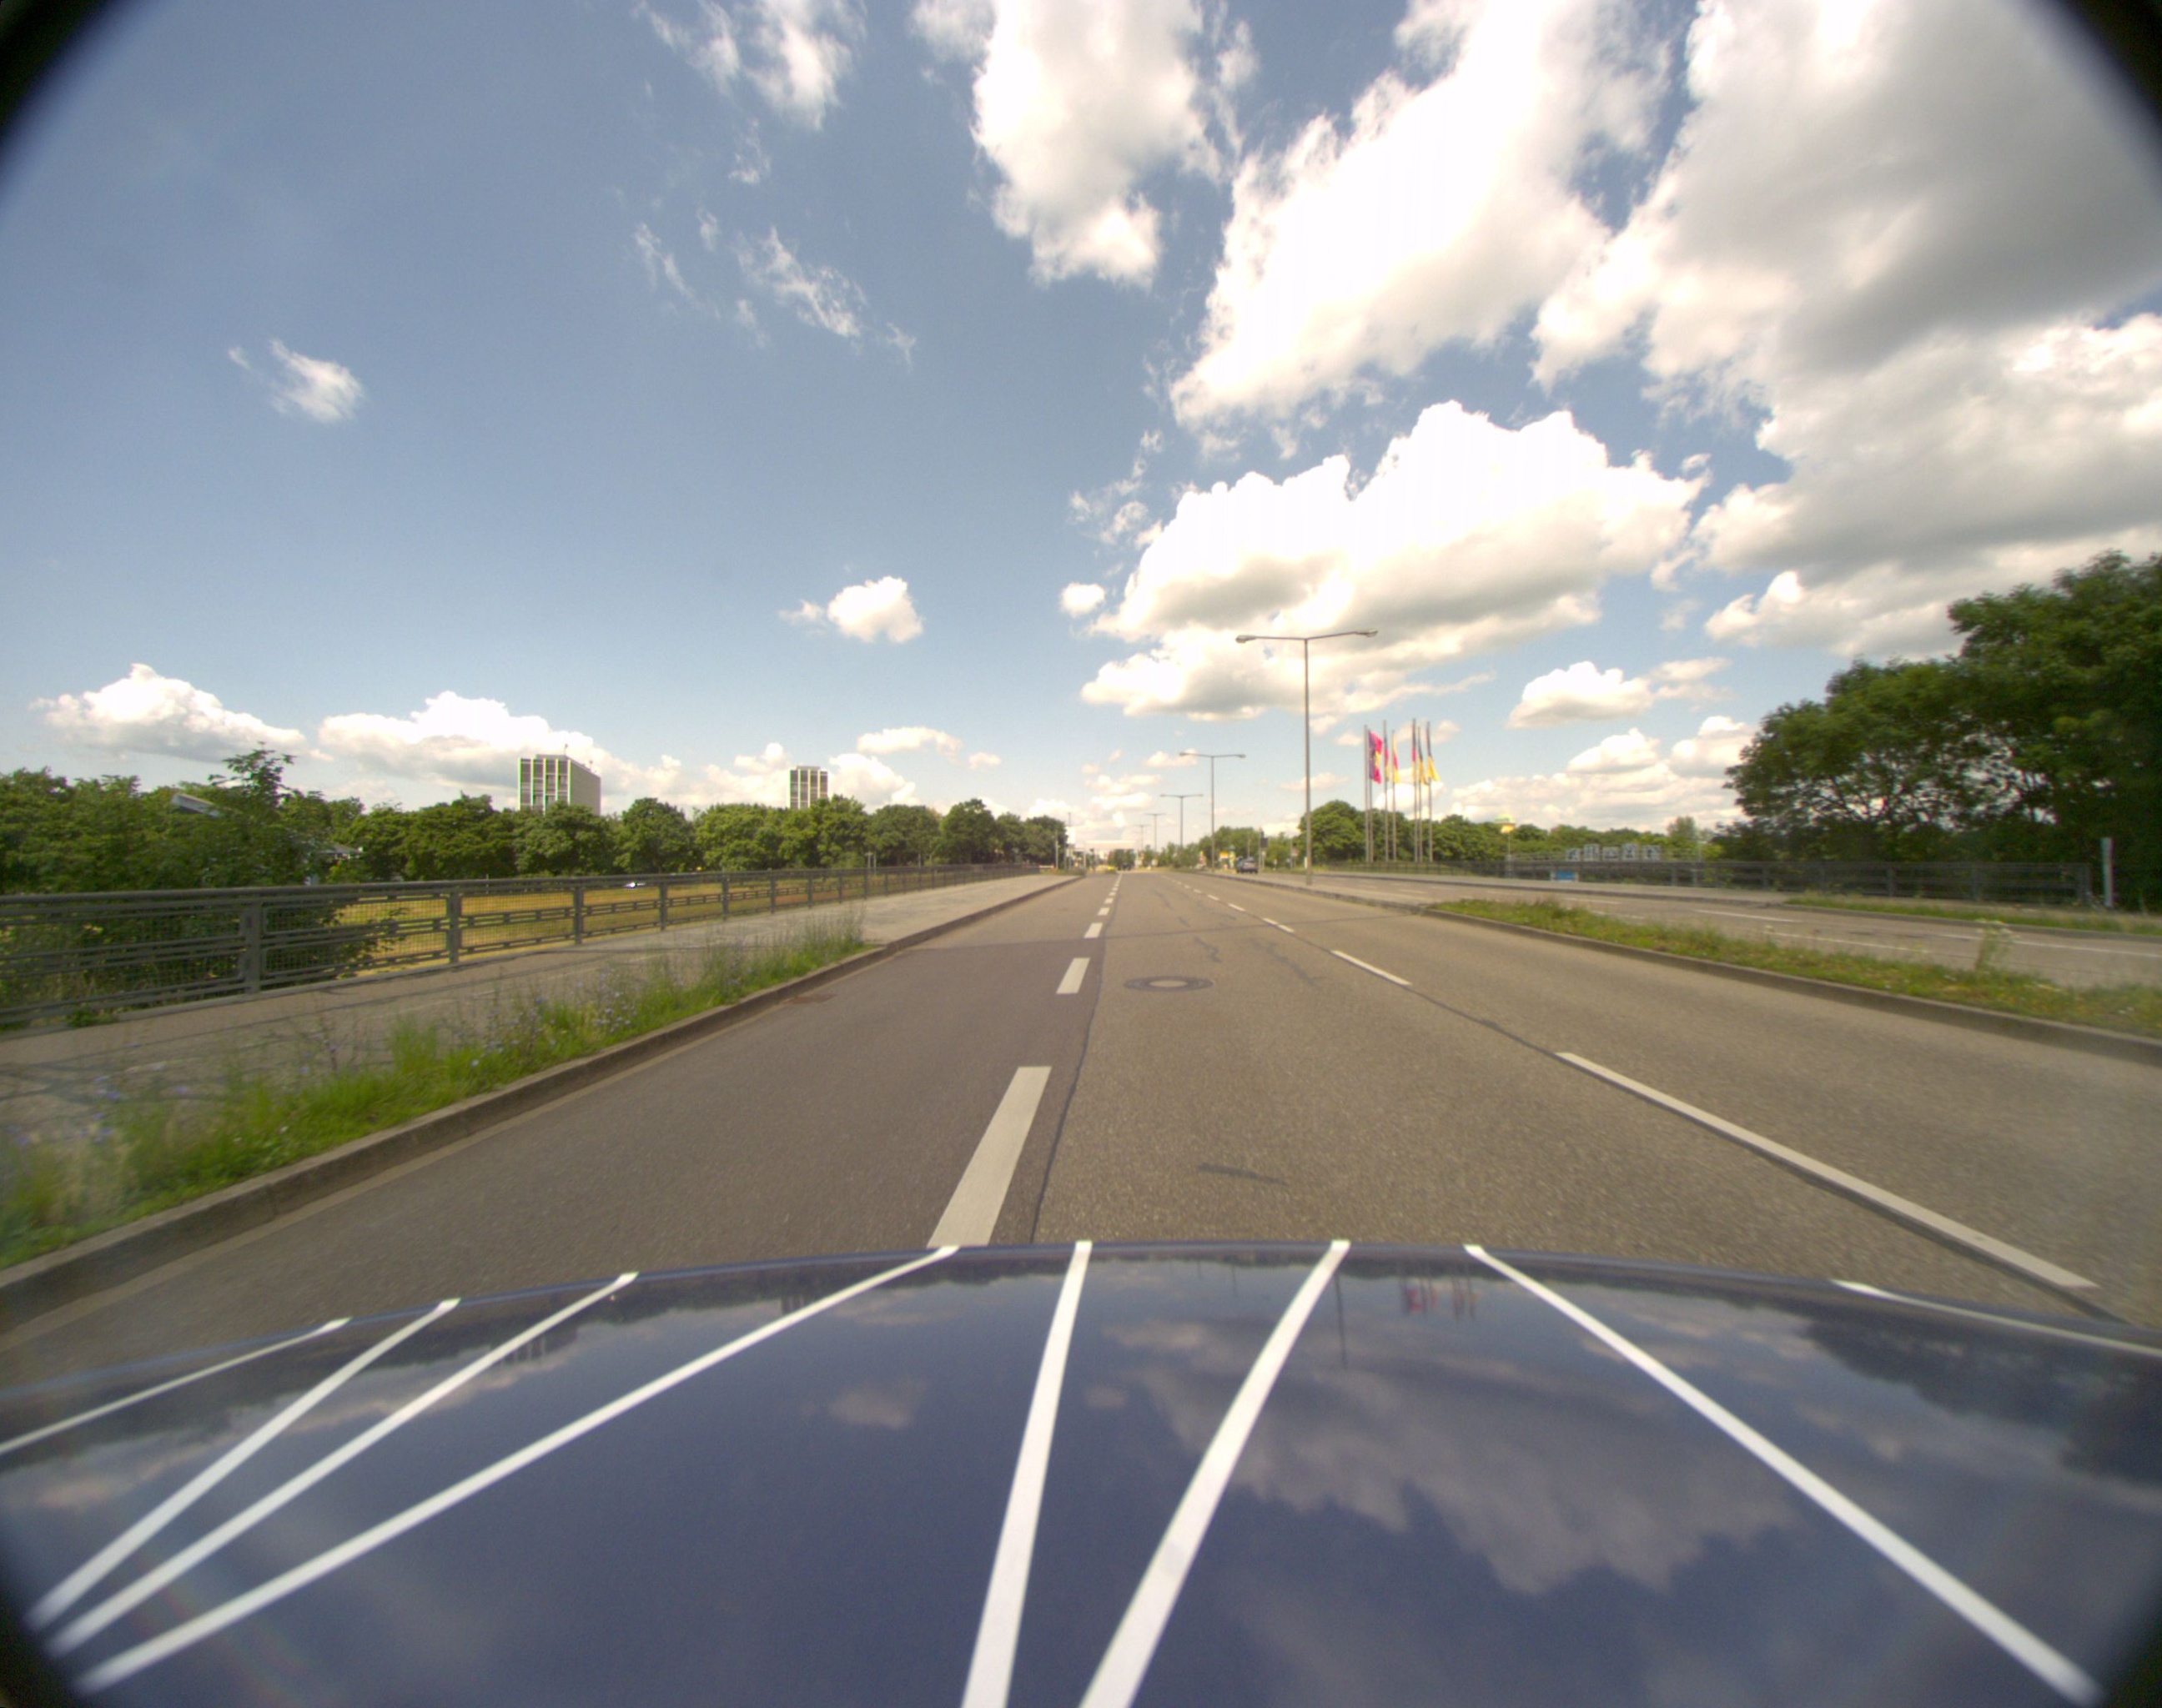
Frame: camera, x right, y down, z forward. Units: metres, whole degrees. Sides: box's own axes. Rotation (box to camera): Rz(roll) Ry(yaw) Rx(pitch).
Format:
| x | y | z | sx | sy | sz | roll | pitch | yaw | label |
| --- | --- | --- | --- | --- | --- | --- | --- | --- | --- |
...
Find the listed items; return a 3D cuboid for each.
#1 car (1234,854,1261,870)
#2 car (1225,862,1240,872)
| x | y | z | sx | sy | sz | roll | pitch | yaw | label |
| --- | --- | --- | --- | --- | --- | --- | --- | --- | --- |
| 19.652 | 0.961 | 89.916 | 2.093 | 1.616 | 4.550 | 3 | -1 | 0 | car |
| 23.371 | 2.046 | 117.214 | 1.667 | 1.405 | 4.552 | 2 | -1 | 5 | car |
